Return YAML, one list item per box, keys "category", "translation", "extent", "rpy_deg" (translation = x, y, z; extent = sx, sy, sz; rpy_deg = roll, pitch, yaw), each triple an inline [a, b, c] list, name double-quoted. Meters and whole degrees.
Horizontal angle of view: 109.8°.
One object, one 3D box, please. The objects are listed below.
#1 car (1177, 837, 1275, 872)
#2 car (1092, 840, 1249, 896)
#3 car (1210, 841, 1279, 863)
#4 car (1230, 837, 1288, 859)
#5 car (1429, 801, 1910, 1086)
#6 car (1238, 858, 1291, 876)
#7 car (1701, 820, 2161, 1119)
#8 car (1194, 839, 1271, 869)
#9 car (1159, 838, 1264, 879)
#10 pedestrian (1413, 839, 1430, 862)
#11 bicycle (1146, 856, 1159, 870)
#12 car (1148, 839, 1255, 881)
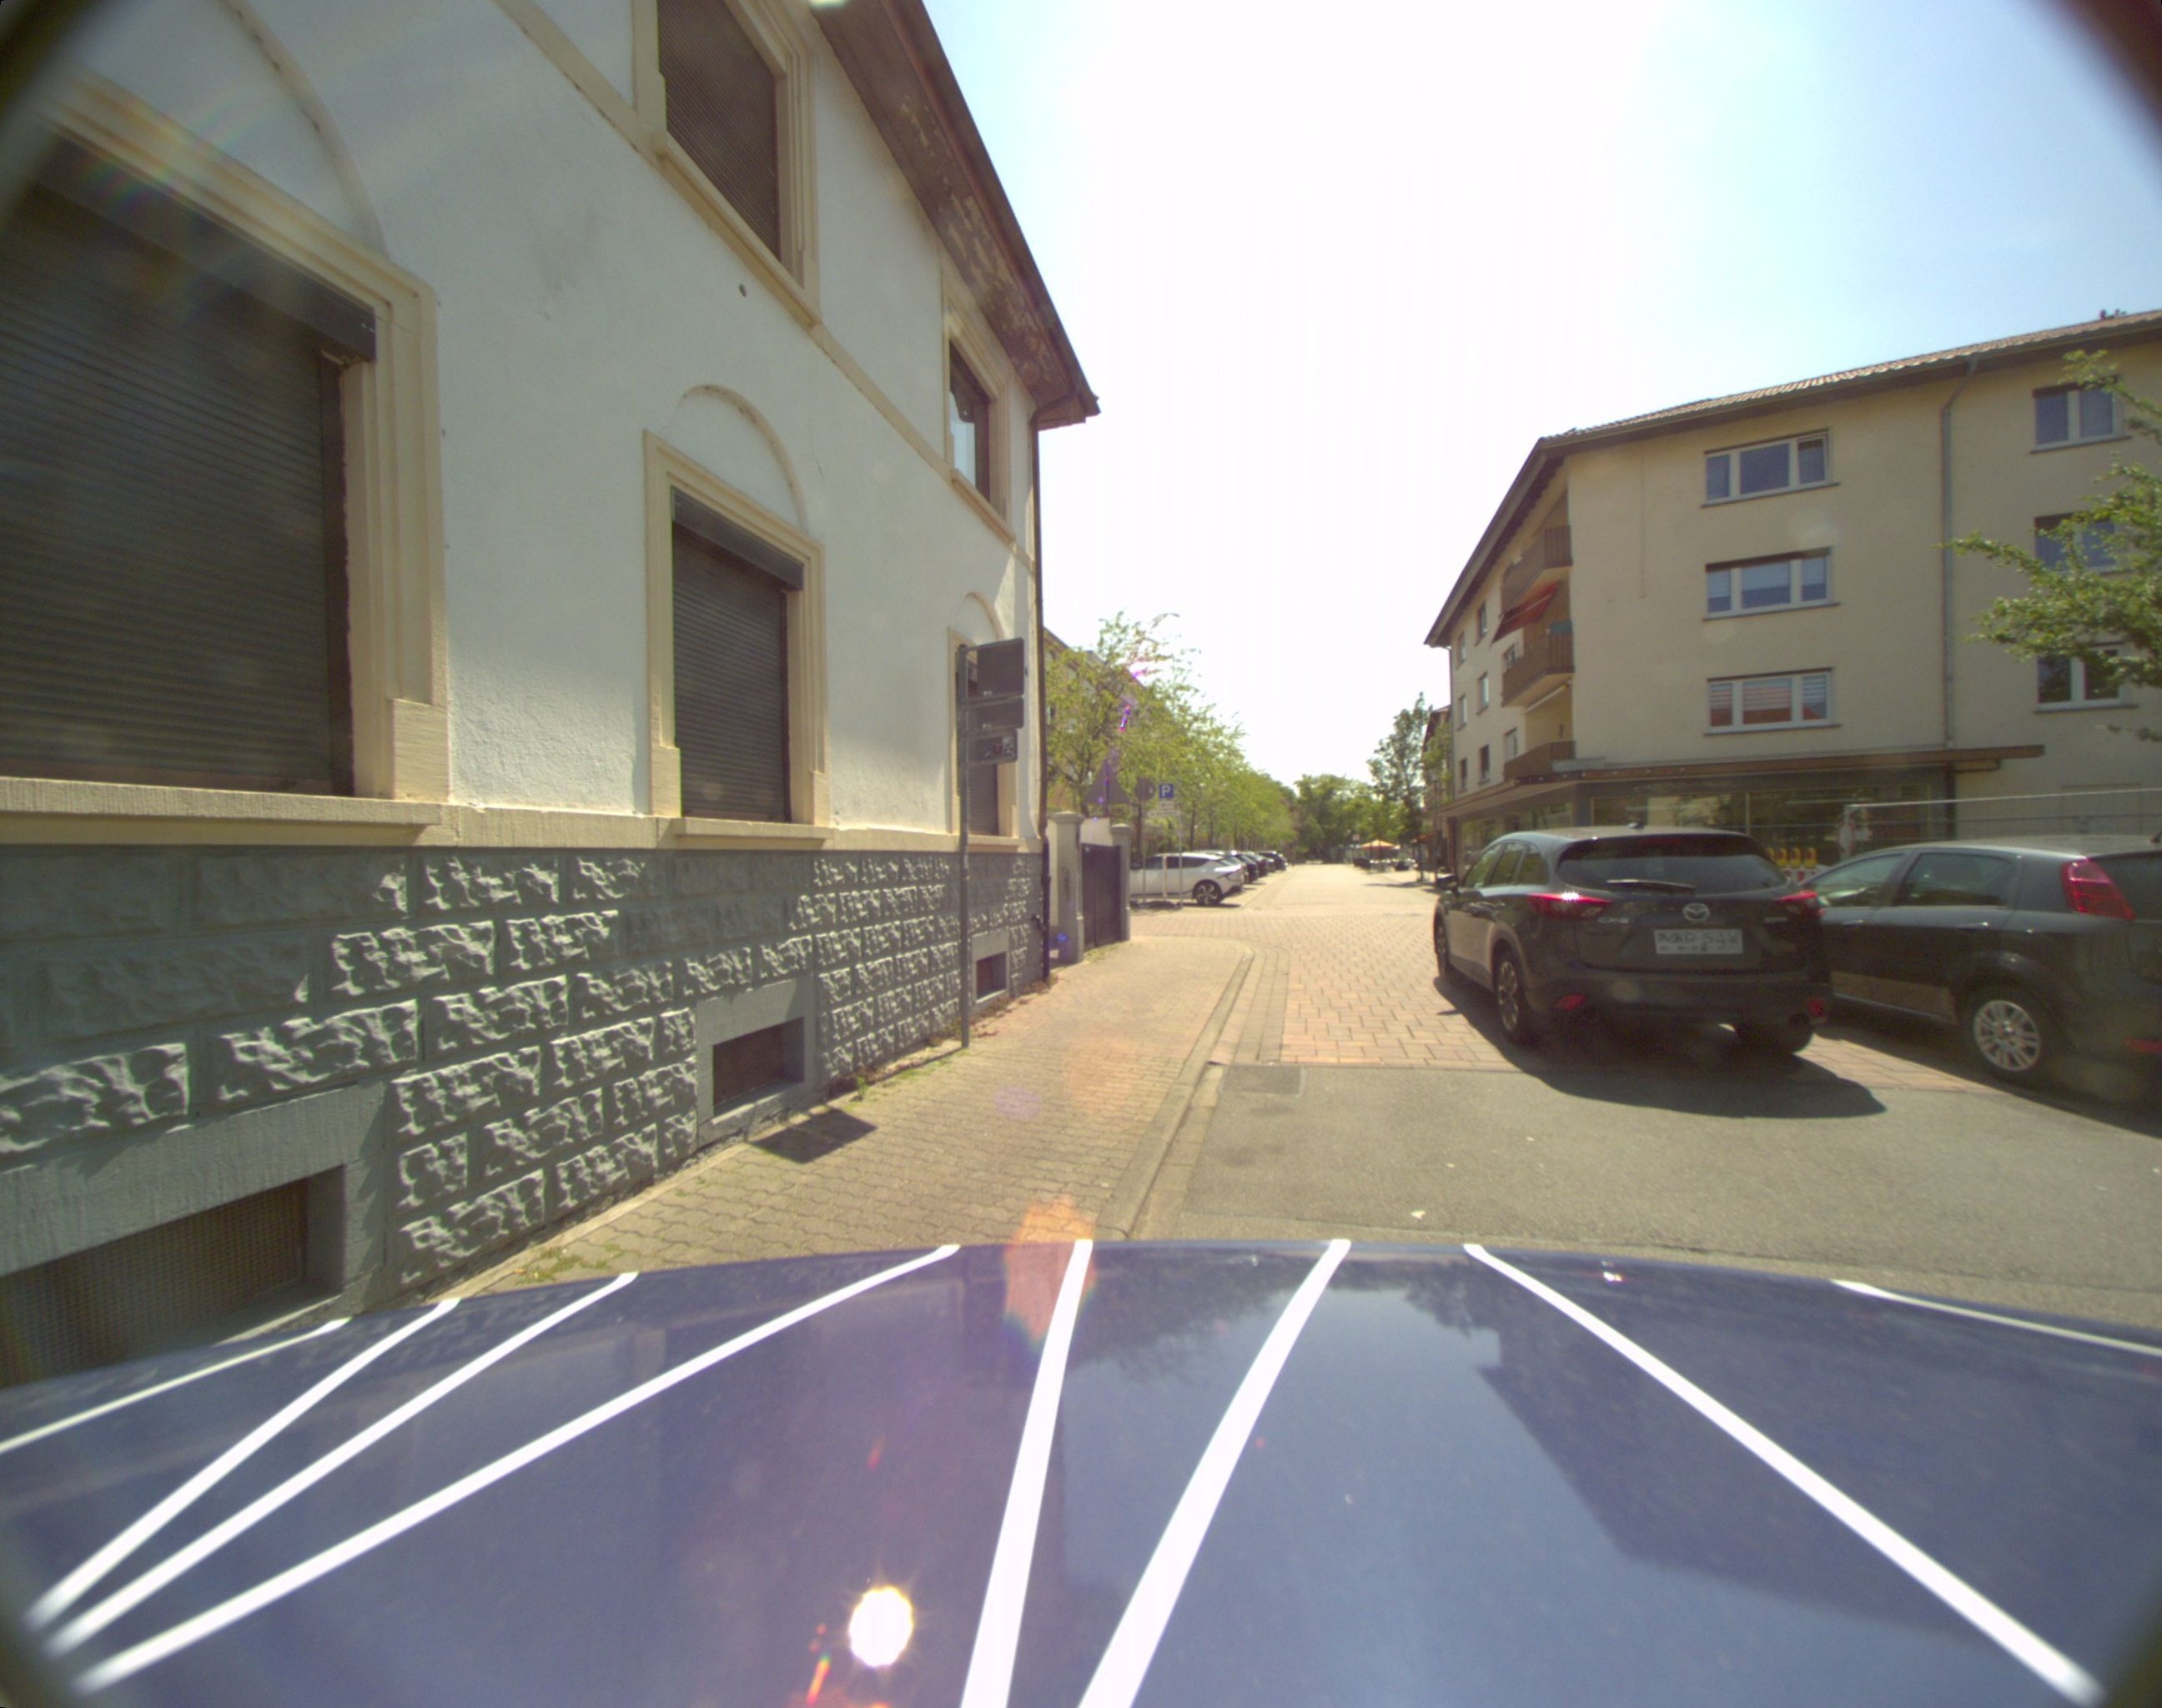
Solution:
- category: "car"
  translation: [7.187, 0.003, 37.653]
  extent: [4.512, 1.579, 1.853]
  rpy_deg: [2, 1, 20]
- category: "car"
  translation: [2.727, 0.382, 22.977]
  extent: [4.445, 1.567, 1.791]
  rpy_deg: [1, 1, 17]
- category: "car"
  translation: [11.368, -0.119, 52.934]
  extent: [4.384, 1.455, 1.890]
  rpy_deg: [0, 0, -1]
- category: "car"
  translation: [13.677, -0.451, 58.455]
  extent: [4.248, 1.608, 1.759]
  rpy_deg: [1, 1, 16]
- category: "car"
  translation: [4.457, 0.533, 6.673]
  extent: [1.884, 1.658, 4.158]
  rpy_deg: [-1, 0, 15]
- category: "car"
  translation: [16.807, 1.190, 69.588]
  extent: [4.580, 1.534, 1.809]
  rpy_deg: [-1, 0, 18]
- category: "car"
  translation: [6.561, 0.558, 5.482]
  extent: [1.705, 1.488, 3.861]
  rpy_deg: [-1, 0, 13]
- category: "car"
  translation: [8.450, -0.027, 42.345]
  extent: [4.031, 1.603, 1.683]
  rpy_deg: [1, 1, 16]
- category: "car"
  translation: [5.651, 0.184, 32.764]
  extent: [4.284, 1.671, 2.003]
  rpy_deg: [0, 1, 15]
- category: "pedestrian"
  translation: [25.955, -0.269, 57.953]
  extent: [0.871, 1.770, 0.758]
  rpy_deg: [-2, 0, -32]
- category: "bicycle"
  translation: [5.614, 0.695, 59.559]
  extent: [0.642, 1.075, 1.868]
  rpy_deg: [-2, 0, 17]
- category: "car"
  translation: [4.791, 0.204, 30.119]
  extent: [3.948, 1.525, 1.826]
  rpy_deg: [1, 1, 16]
